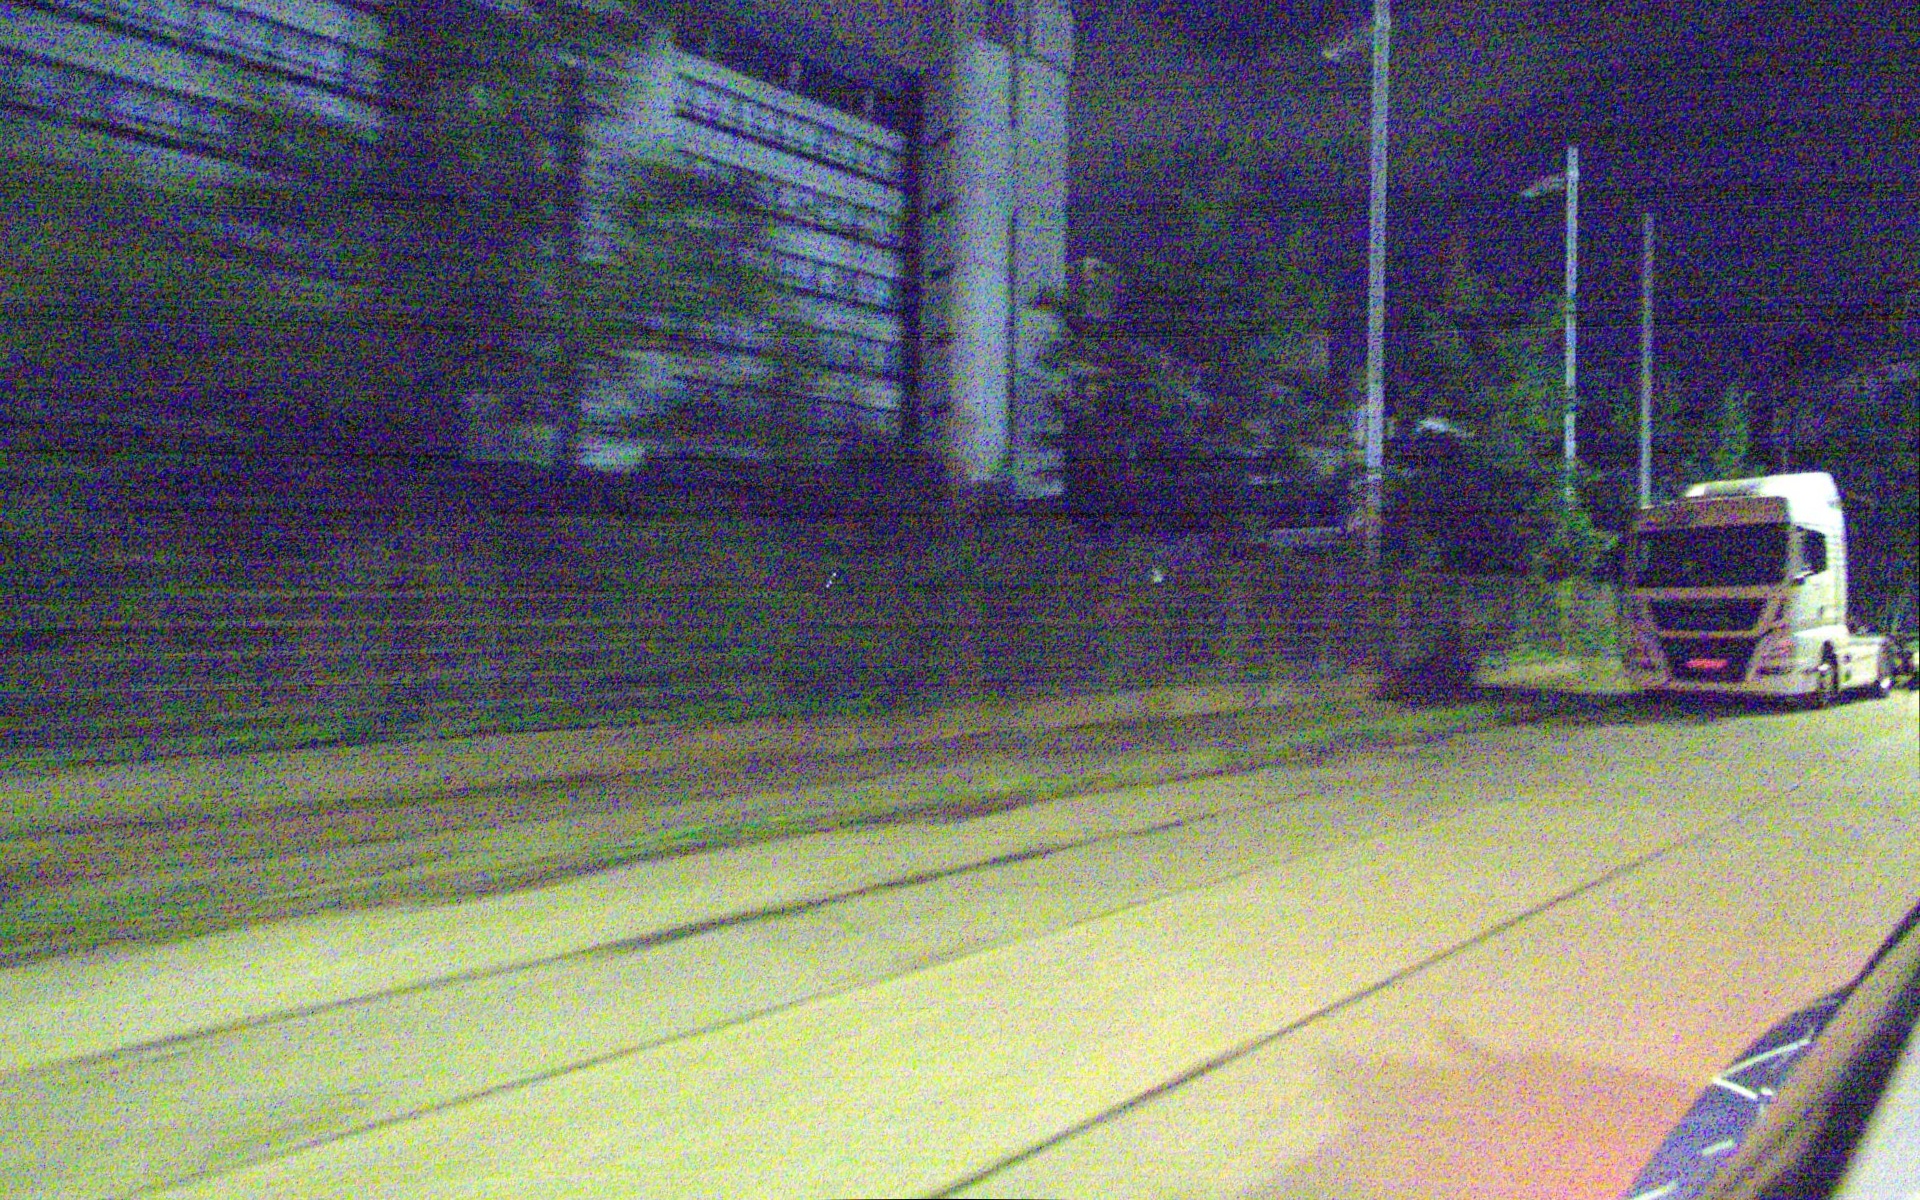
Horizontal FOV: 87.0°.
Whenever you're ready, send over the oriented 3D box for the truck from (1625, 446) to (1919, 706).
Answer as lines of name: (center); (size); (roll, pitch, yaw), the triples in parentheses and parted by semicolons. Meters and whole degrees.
truck: (17.117, -0.292, 19.758); (12.415, 3.886, 2.518); (1, -1, -35)
